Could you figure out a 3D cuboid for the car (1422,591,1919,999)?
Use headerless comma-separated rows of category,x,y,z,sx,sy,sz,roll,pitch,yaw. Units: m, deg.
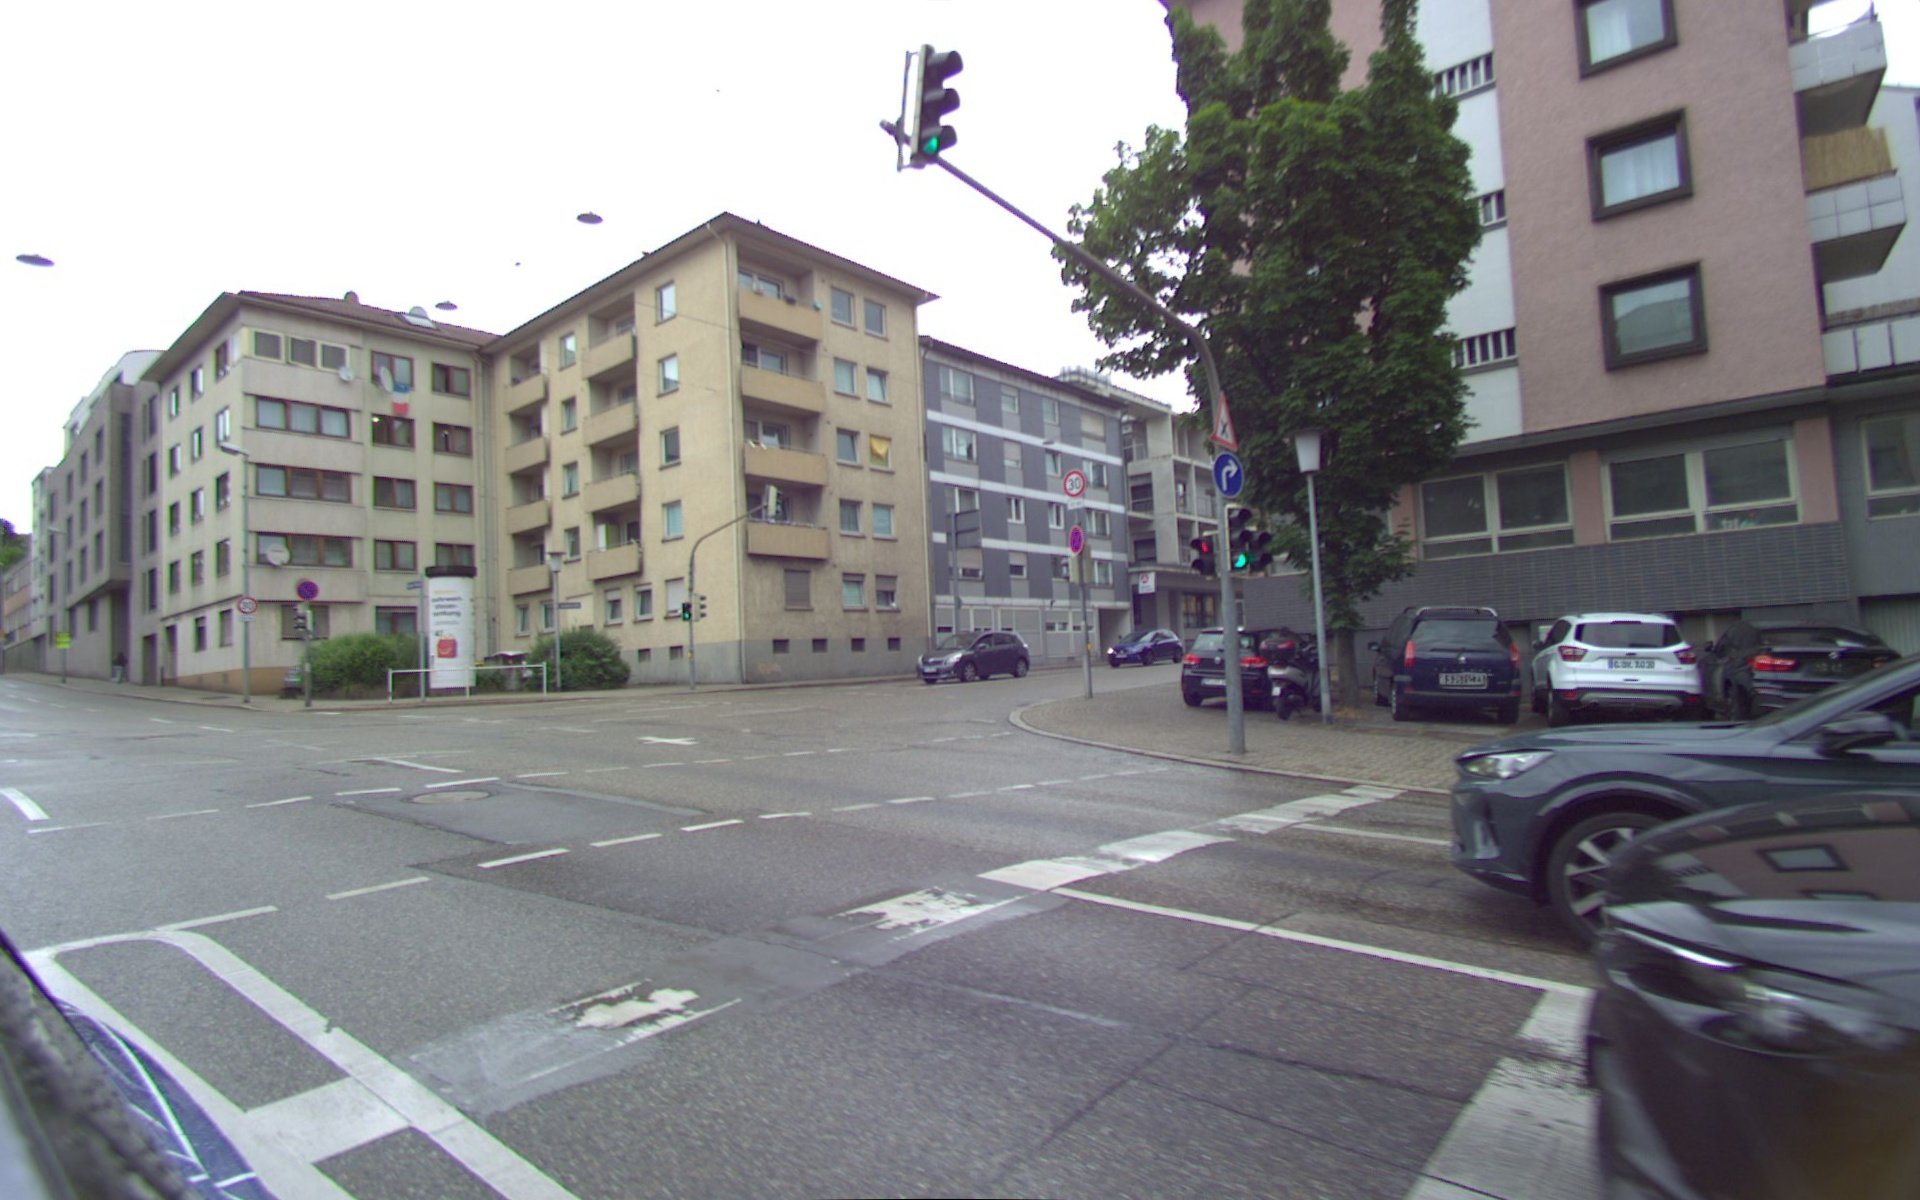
car,4.469,0.707,4.114,4.372,1.489,1.801,-4,-4,38

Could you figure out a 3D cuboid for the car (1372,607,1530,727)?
car,8.117,1.033,17.111,1.758,1.741,4.322,0,-1,17

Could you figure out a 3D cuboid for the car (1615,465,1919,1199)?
car,3.329,0.587,0.994,4.373,1.548,1.801,-1,-2,38

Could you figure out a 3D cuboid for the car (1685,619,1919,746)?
car,11.751,1.030,14.243,1.851,1.507,3.965,0,-1,26

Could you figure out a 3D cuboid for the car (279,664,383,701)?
car,-24.754,3.236,39.894,1.381,1.201,3.219,-7,-4,40

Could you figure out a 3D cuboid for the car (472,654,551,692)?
car,-19.054,3.075,42.933,3.321,1.485,1.743,-3,-2,39

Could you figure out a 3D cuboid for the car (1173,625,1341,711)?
car,5.734,1.223,19.240,1.735,1.370,3.949,-2,-1,38

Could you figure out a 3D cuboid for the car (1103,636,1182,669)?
car,7.429,2.105,40.977,1.689,1.157,3.954,-3,-2,34

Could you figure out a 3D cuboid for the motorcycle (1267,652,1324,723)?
motorcycle,5.452,1.391,16.375,0.452,1.040,1.775,-3,-3,31

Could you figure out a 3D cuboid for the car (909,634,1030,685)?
car,0.356,1.878,32.429,1.731,1.492,4.019,-6,-5,38

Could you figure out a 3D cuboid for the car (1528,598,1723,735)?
car,10.022,0.954,15.565,1.850,1.807,3.967,0,-2,24

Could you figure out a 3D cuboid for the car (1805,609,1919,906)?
car,7.073,0.785,5.311,3.766,1.608,1.721,-4,-3,33

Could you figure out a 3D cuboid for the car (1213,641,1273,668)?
car,13.887,2.656,49.600,1.547,1.076,3.053,-8,-5,41
